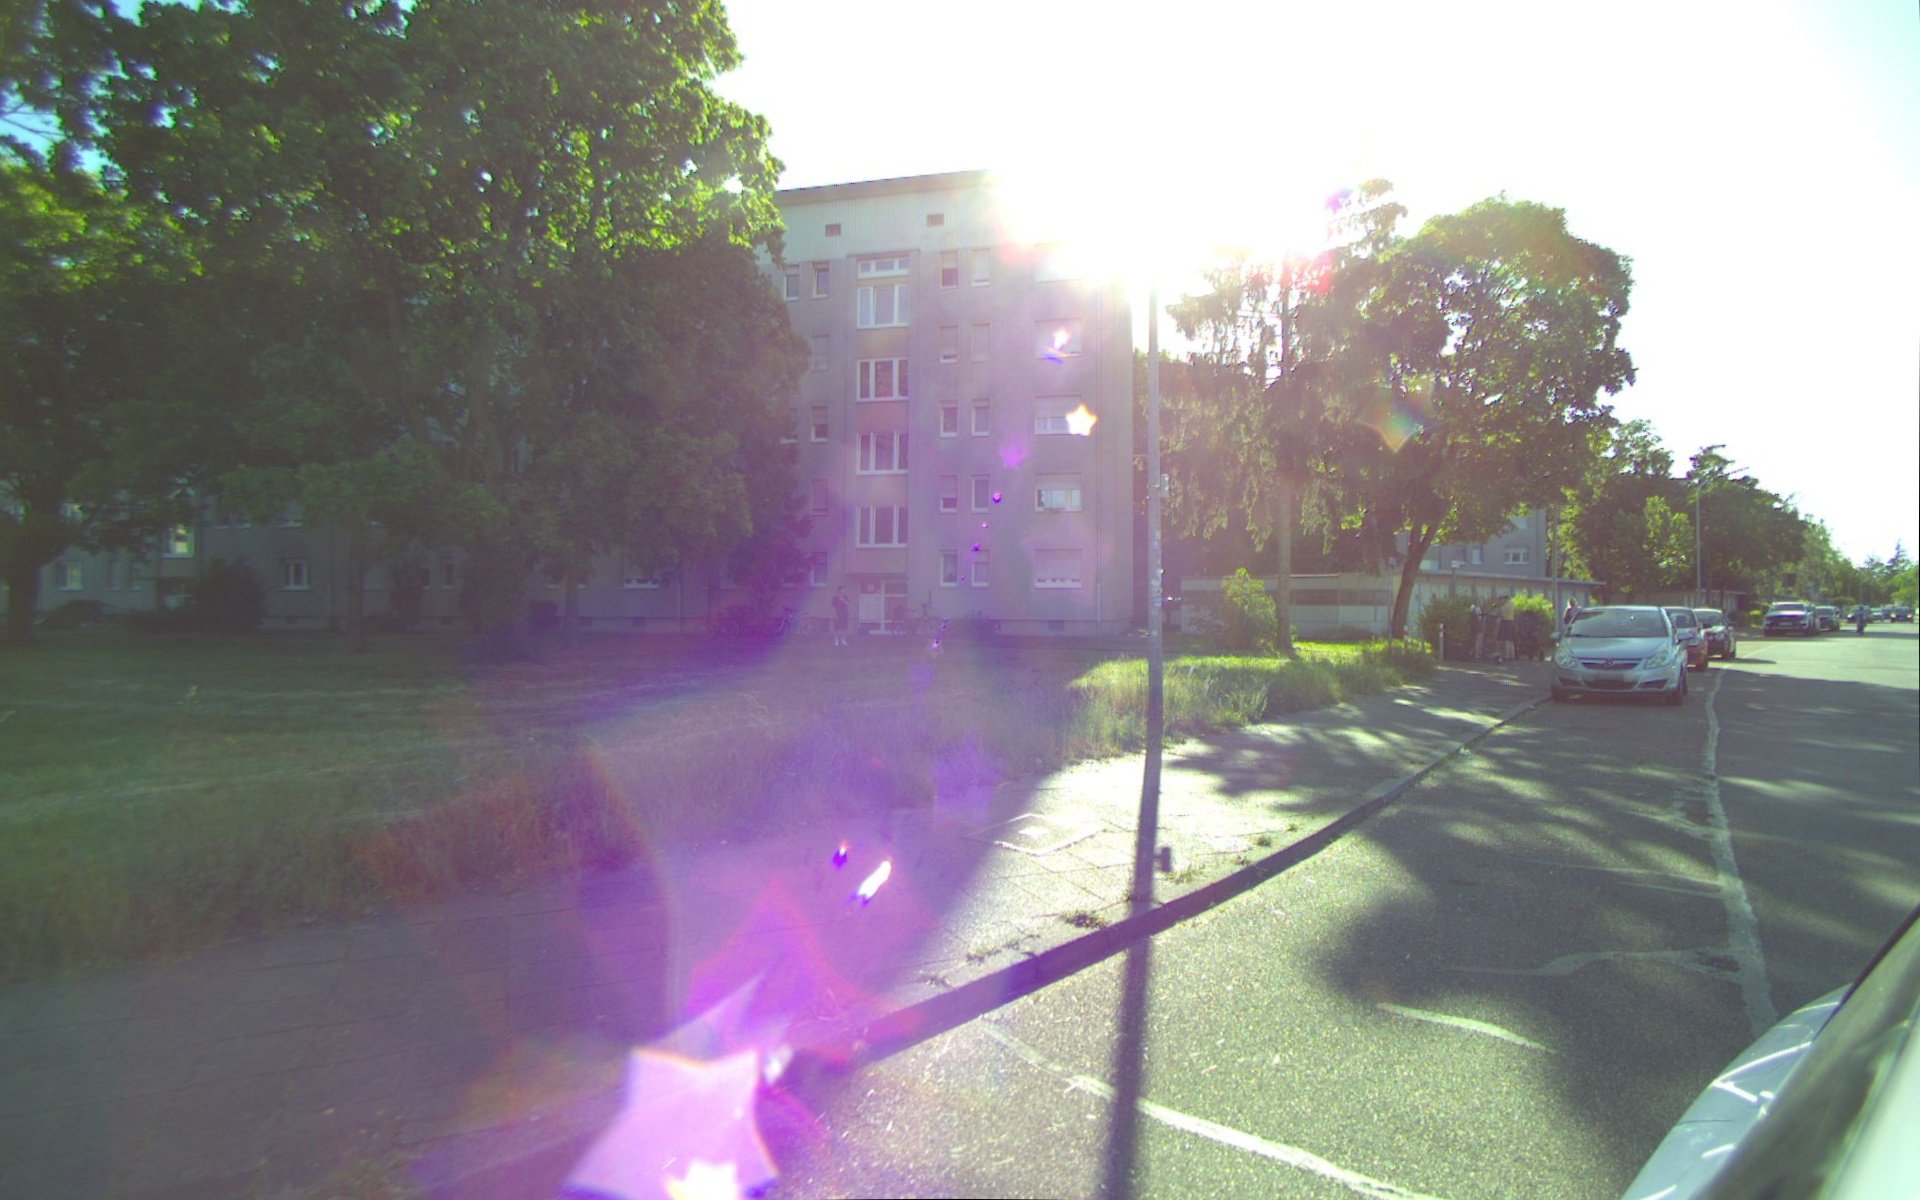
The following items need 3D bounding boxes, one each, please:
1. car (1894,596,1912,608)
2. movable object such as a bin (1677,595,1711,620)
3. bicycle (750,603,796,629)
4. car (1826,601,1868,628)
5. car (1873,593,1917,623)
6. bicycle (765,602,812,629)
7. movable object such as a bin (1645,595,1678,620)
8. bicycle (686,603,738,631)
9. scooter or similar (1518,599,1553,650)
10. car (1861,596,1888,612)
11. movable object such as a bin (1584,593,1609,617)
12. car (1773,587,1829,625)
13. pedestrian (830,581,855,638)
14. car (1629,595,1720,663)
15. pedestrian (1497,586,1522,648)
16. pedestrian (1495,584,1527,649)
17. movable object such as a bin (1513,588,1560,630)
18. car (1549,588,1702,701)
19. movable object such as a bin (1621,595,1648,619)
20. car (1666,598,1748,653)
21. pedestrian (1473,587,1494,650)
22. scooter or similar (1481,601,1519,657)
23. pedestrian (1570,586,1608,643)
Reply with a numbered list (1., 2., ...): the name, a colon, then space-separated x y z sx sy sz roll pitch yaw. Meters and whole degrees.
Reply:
1. car: 126.738 0.296 136.001 1.728 1.616 3.751 -1 -1 44
2. movable object such as a bin: 40.480 0.417 55.811 1.033 1.364 1.254 -1 1 -34
3. bicycle: -6.522 0.557 35.354 0.510 0.857 1.656 -3 -1 40
4. car: 56.356 0.932 64.277 1.804 1.614 3.960 -3 -2 44
5. car: 53.060 0.461 57.409 1.728 1.616 3.751 -1 -1 44
6. bicycle: -5.919 0.529 34.964 0.510 0.857 1.656 -3 -1 40
7. movable object such as a bin: 39.707 0.424 57.293 1.033 1.364 1.254 -1 1 -34
8. bicycle: -8.059 0.551 32.957 0.510 0.857 1.656 -3 -1 40
9. scooter or similar: 14.603 0.615 25.687 0.622 1.242 0.892 1 1 40
10. car: 87.246 0.399 96.536 1.728 1.490 3.751 -1 -1 44
11. movable object such as a bin: 38.578 0.302 61.344 0.818 1.434 1.078 -1 0 -39
12. car: 44.555 0.353 53.573 1.906 1.864 5.191 -3 -3 43
13. pedestrian: -3.538 0.278 30.441 0.526 1.684 0.490 -1 -2 -39
14. car: 17.033 0.637 24.065 1.572 1.465 3.737 -1 0 38
15. pedestrian: 14.144 0.429 26.055 0.484 1.584 0.463 1 2 37
16. pedestrian: 13.678 0.404 25.115 0.586 1.584 0.482 -1 2 -39
17. movable object such as a bin: 19.844 0.311 34.836 1.236 1.421 0.901 -1 0 42
18. car: 10.704 0.616 16.173 1.727 1.562 3.737 -1 0 38
19. movable object such as a bin: 39.007 0.391 58.533 0.848 1.364 1.079 -1 0 -34
20. car: 21.854 0.699 29.549 1.646 1.420 3.825 0 1 41
21. pedestrian: 13.017 0.457 25.152 0.360 1.522 0.494 1 2 38
22. scooter or similar: 12.750 0.666 23.917 0.393 1.242 1.251 0 1 9
23. pedestrian: 17.889 0.412 28.794 0.786 1.585 0.561 -3 -2 40
